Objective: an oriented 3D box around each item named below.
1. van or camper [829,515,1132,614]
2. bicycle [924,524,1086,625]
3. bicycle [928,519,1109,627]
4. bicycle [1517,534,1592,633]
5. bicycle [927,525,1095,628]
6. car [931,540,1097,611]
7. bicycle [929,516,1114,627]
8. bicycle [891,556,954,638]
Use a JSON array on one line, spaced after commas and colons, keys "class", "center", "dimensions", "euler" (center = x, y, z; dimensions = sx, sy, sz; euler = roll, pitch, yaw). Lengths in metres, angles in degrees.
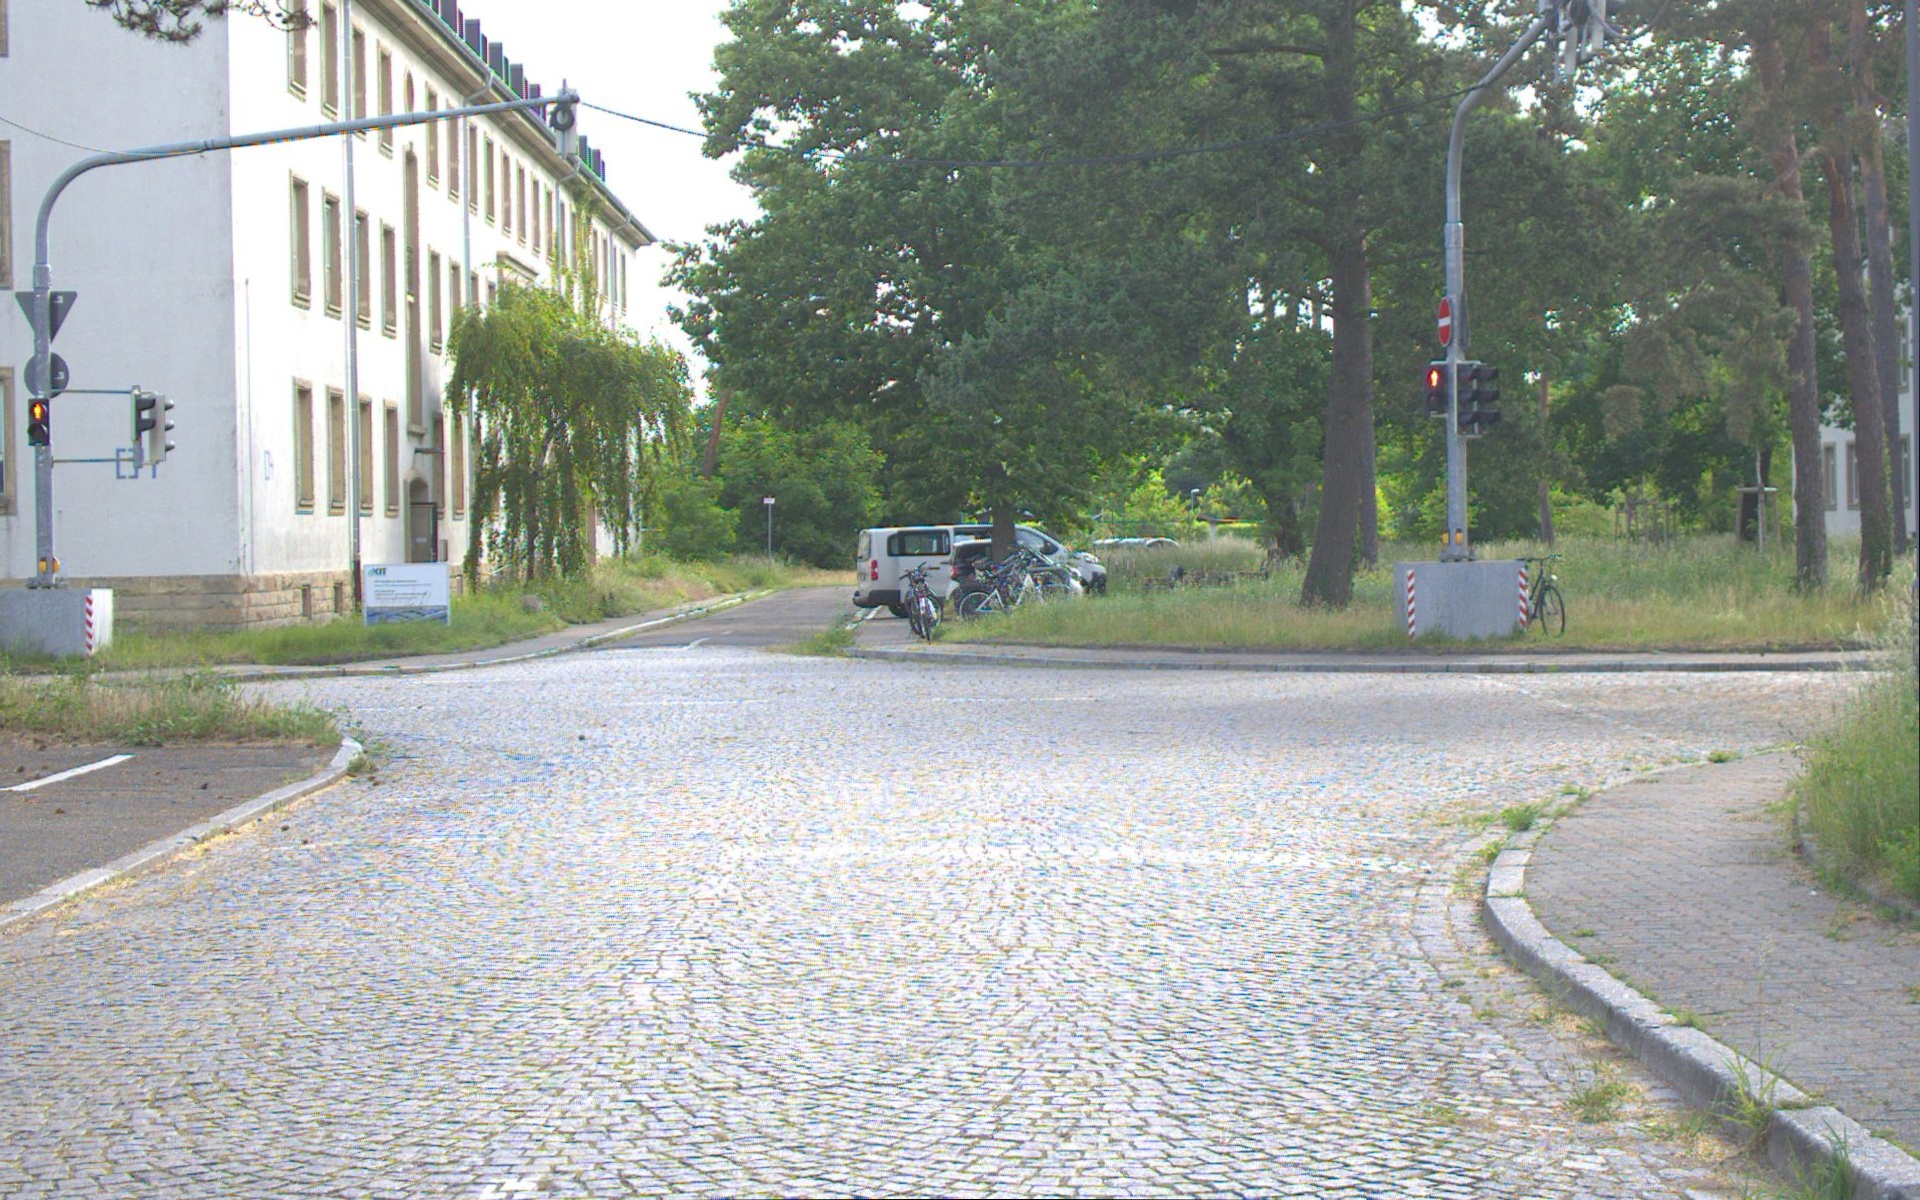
[{"class": "van or camper", "center": [0.424, -0.753, 72.150], "dimensions": [6.030, 1.942, 2.001], "euler": [-1, 1, -13]}, {"class": "bicycle", "center": [0.795, -0.449, 60.276], "dimensions": [2.775, 1.688, 1.120], "euler": [1, 1, 2]}, {"class": "bicycle", "center": [0.932, -0.444, 55.370], "dimensions": [2.775, 1.688, 1.120], "euler": [-1, 1, -7]}, {"class": "bicycle", "center": [7.306, -0.212, 42.320], "dimensions": [0.724, 1.165, 2.736], "euler": [1, 1, 6]}, {"class": "bicycle", "center": [0.879, -0.411, 58.938], "dimensions": [2.776, 1.688, 1.120], "euler": [1, 1, 4]}, {"class": "car", "center": [1.055, -0.490, 68.571], "dimensions": [3.137, 1.349, 1.620], "euler": [-1, 1, -5]}, {"class": "bicycle", "center": [0.957, -0.449, 54.175], "dimensions": [2.775, 1.688, 1.120], "euler": [-1, 1, -5]}, {"class": "bicycle", "center": [-0.536, -0.060, 49.914], "dimensions": [0.725, 1.104, 2.462], "euler": [-5, 1, 1]}]
